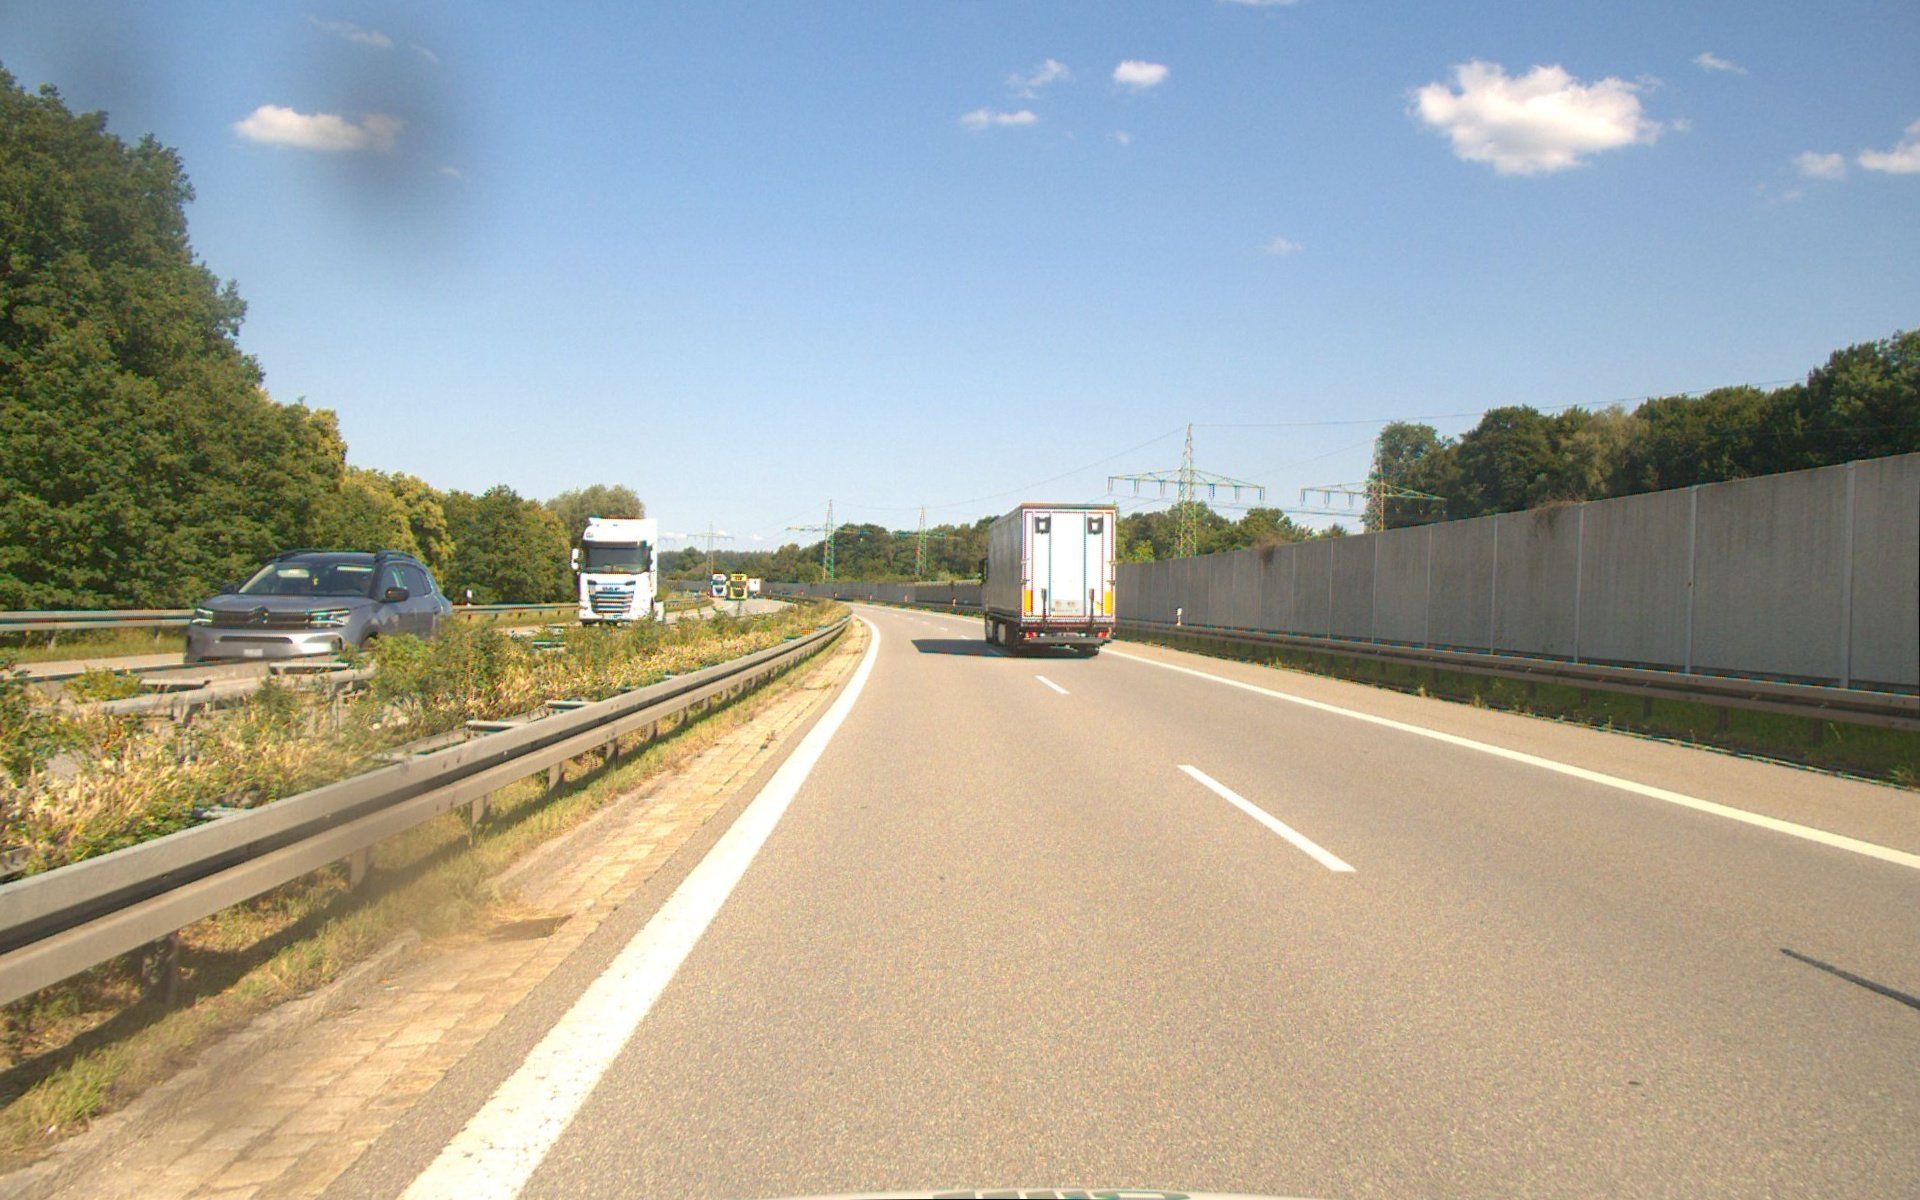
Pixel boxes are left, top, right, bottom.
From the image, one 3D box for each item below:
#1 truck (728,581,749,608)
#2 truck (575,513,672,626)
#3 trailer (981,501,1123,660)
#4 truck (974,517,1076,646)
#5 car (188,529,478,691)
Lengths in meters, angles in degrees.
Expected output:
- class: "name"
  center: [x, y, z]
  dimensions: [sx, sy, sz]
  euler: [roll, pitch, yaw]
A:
- class: "truck"
  center: [-32.912, -0.836, 245.892]
  dimensions: [2.708, 3.976, 8.748]
  euler: [0, 0, -10]
- class: "truck"
  center: [-12.292, -1.061, 60.943]
  dimensions: [2.573, 3.907, 6.804]
  euler: [0, 0, -4]
- class: "trailer"
  center: [2.503, -0.486, 49.645]
  dimensions: [2.827, 4.137, 12.411]
  euler: [0, 0, -3]
- class: "truck"
  center: [2.106, -0.572, 56.013]
  dimensions: [2.774, 4.082, 6.582]
  euler: [0, 0, -4]
- class: "car"
  center: [-6.932, 0.107, 18.757]
  dimensions: [1.805, 1.634, 3.999]
  euler: [0, 0, -1]
